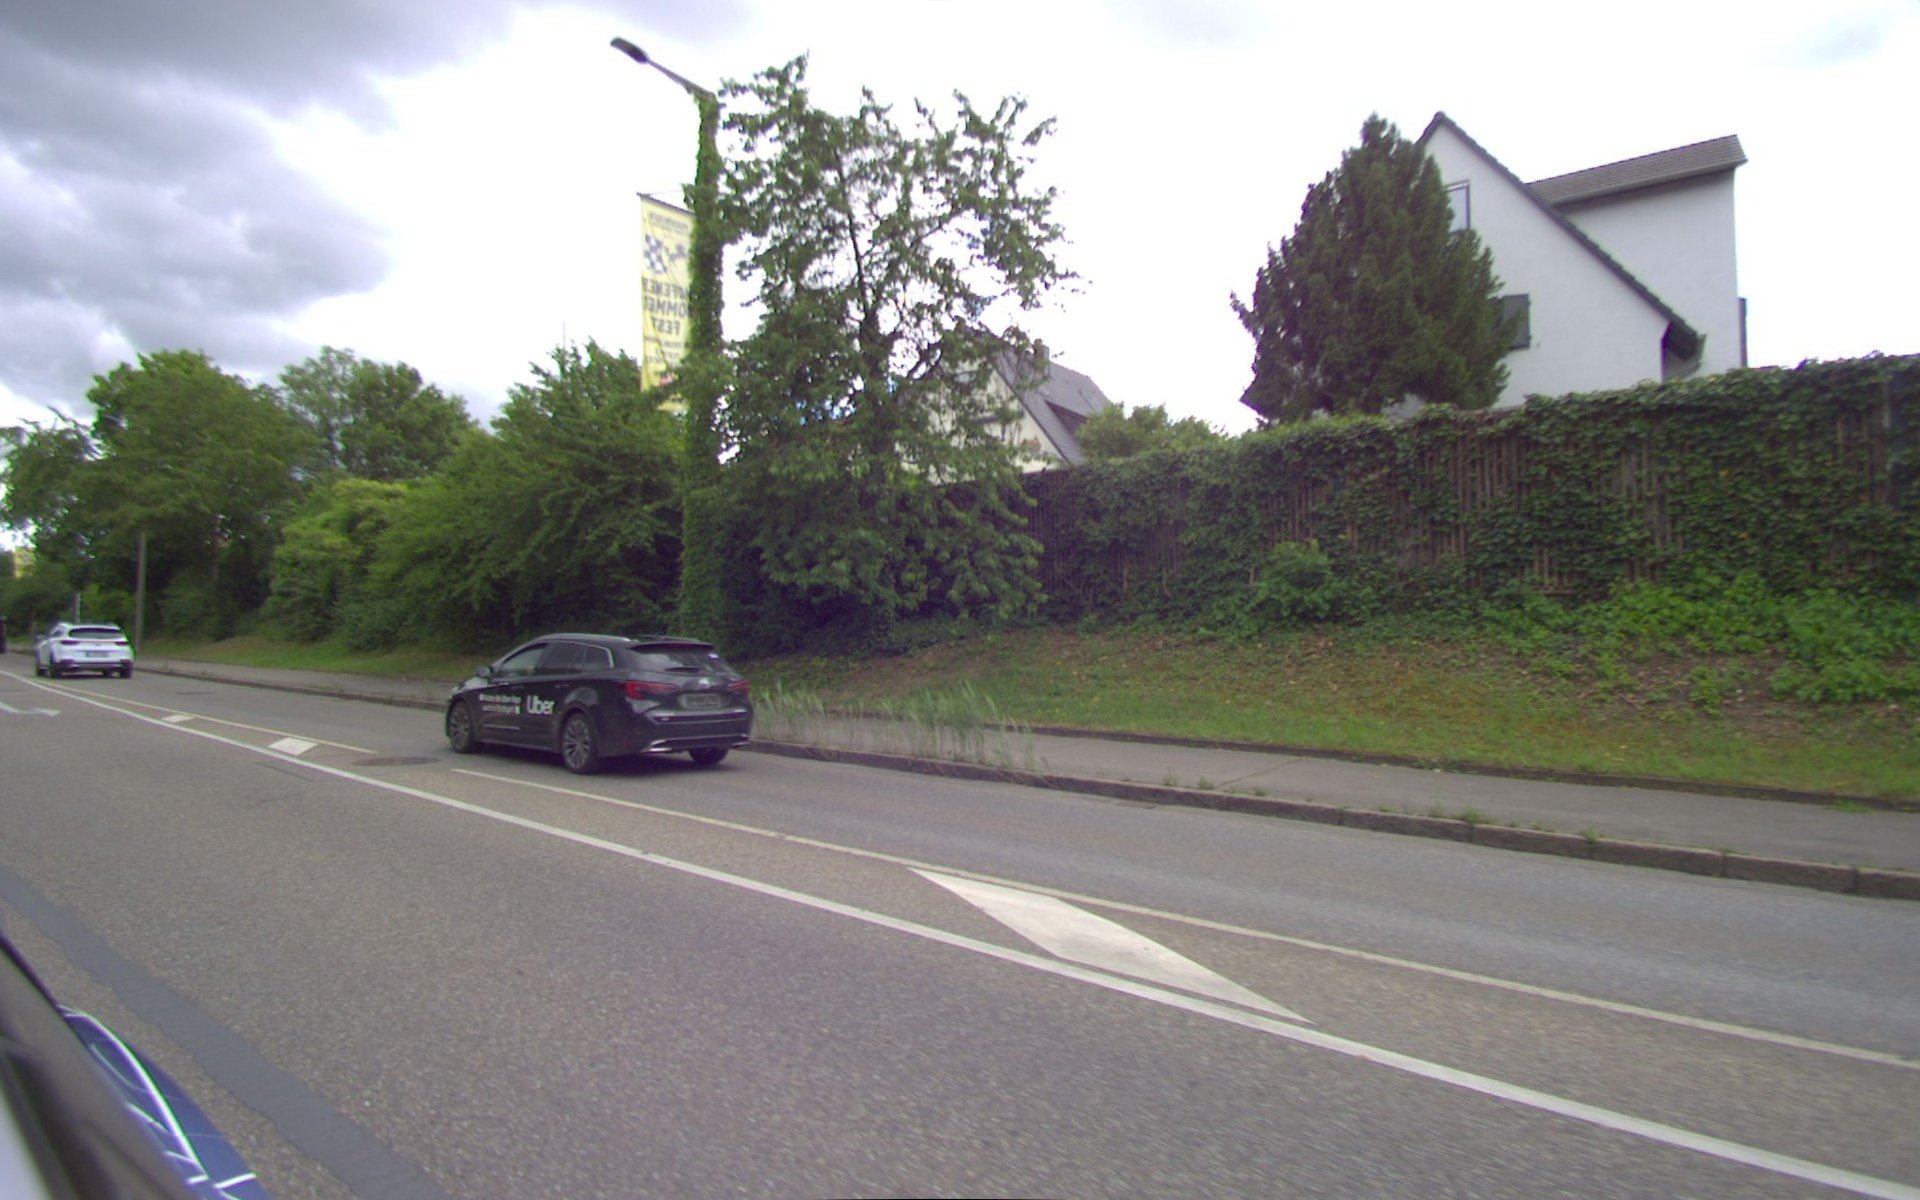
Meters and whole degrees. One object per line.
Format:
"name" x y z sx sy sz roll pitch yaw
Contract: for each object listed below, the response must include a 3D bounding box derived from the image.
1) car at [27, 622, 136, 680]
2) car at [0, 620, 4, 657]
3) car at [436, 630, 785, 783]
"car" -26.446 1.507 30.418 4.156 1.633 1.823 -1 -3 40
"car" -55.100 2.135 56.465 5.112 2.052 1.973 -2 -3 40
"car" -4.041 1.069 11.384 4.212 1.411 1.748 -1 -4 40
